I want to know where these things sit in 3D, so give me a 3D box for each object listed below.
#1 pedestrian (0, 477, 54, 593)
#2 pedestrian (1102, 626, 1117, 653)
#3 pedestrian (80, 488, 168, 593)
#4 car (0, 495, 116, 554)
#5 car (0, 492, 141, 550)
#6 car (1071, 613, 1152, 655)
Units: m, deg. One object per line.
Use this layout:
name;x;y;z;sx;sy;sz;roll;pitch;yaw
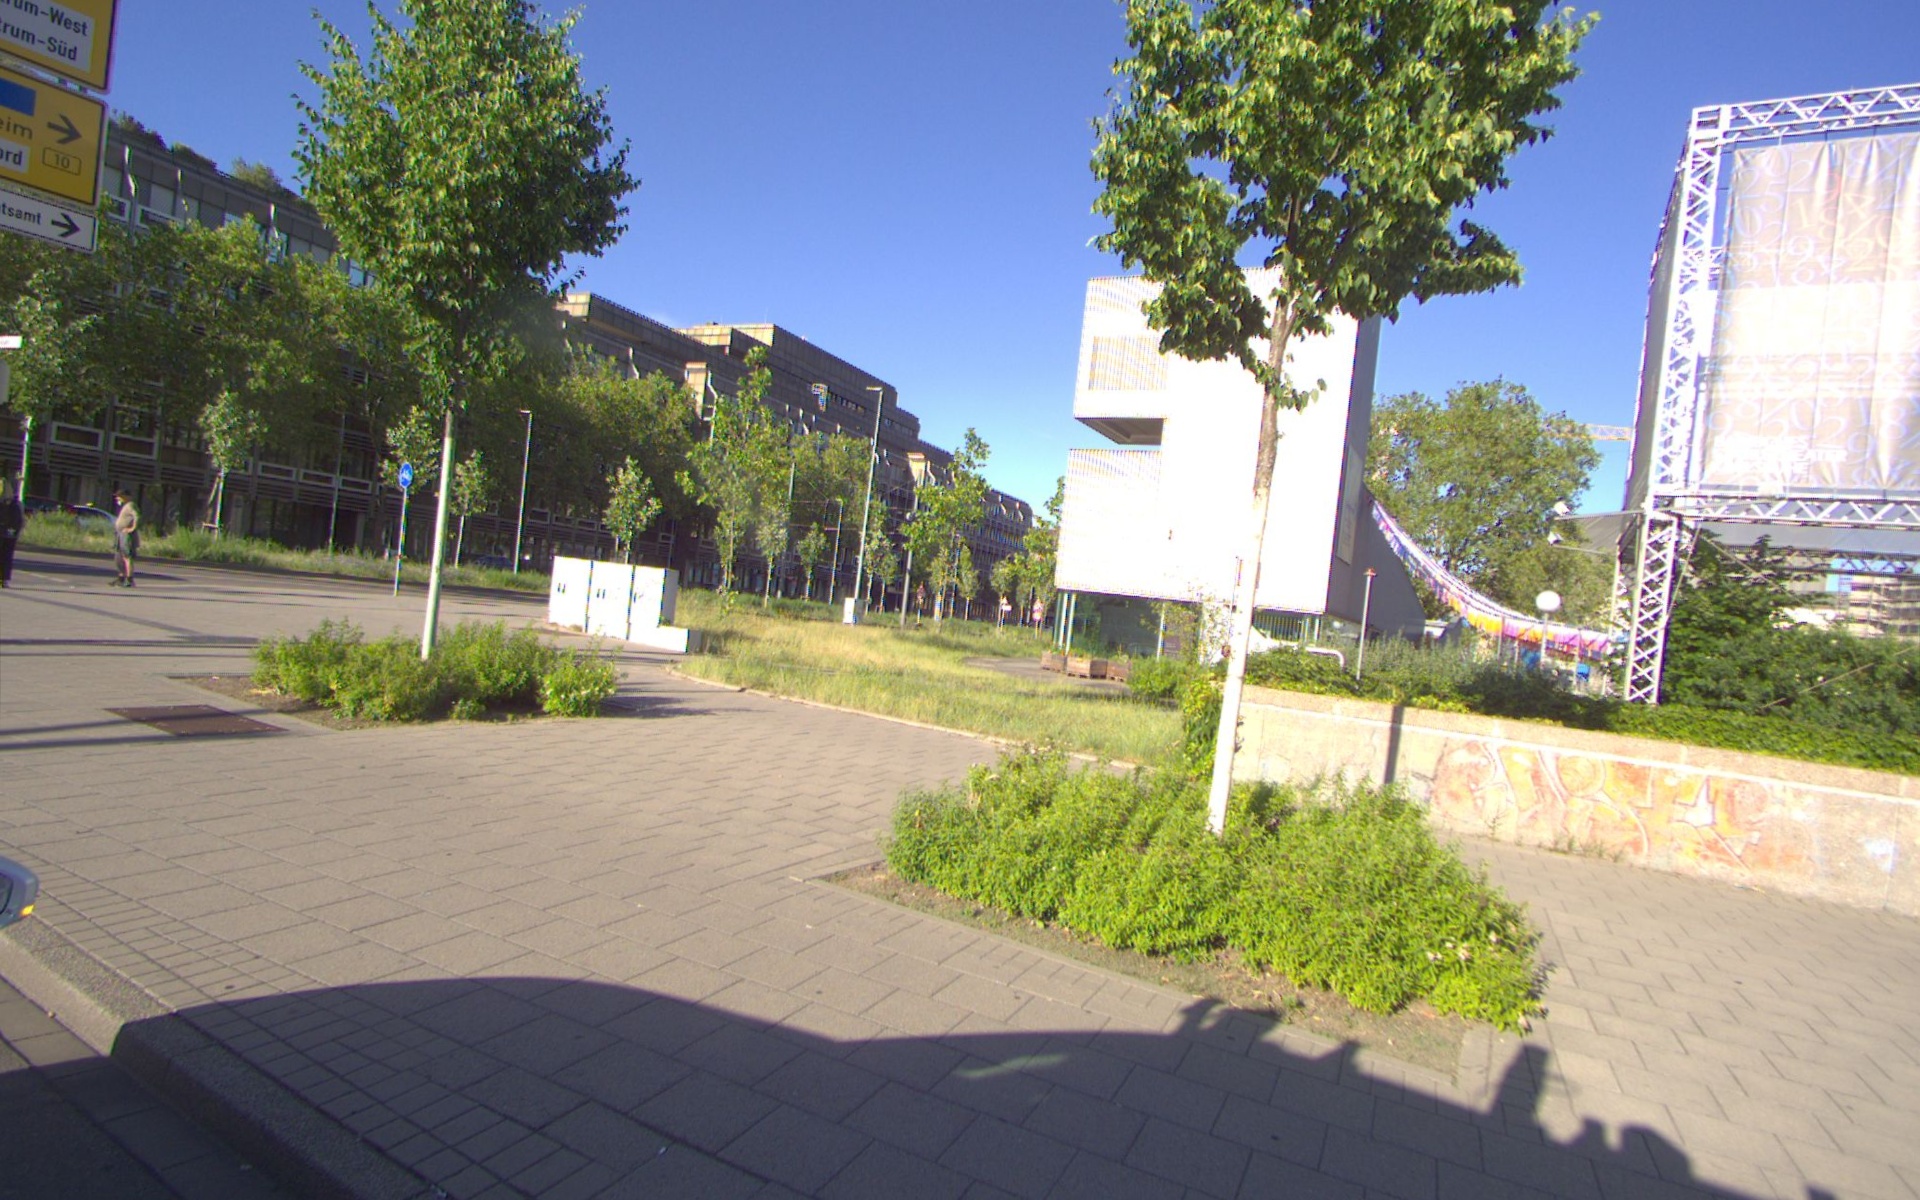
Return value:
pedestrian;-14.222;-0.994;14.969;0.859;1.634;0.767;7;1;30
pedestrian;9.119;2.409;61.225;0.520;1.571;0.638;7;-1;31
pedestrian;-14.962;-1.051;18.007;0.755;1.728;0.873;7;1;30
car;-33.140;-2.767;35.797;1.792;1.704;4.302;7;-1;21
car;-36.171;-3.176;40.276;1.794;1.704;4.854;7;-1;28
car;10.586;2.391;70.090;5.661;2.308;1.874;7;0;-35
